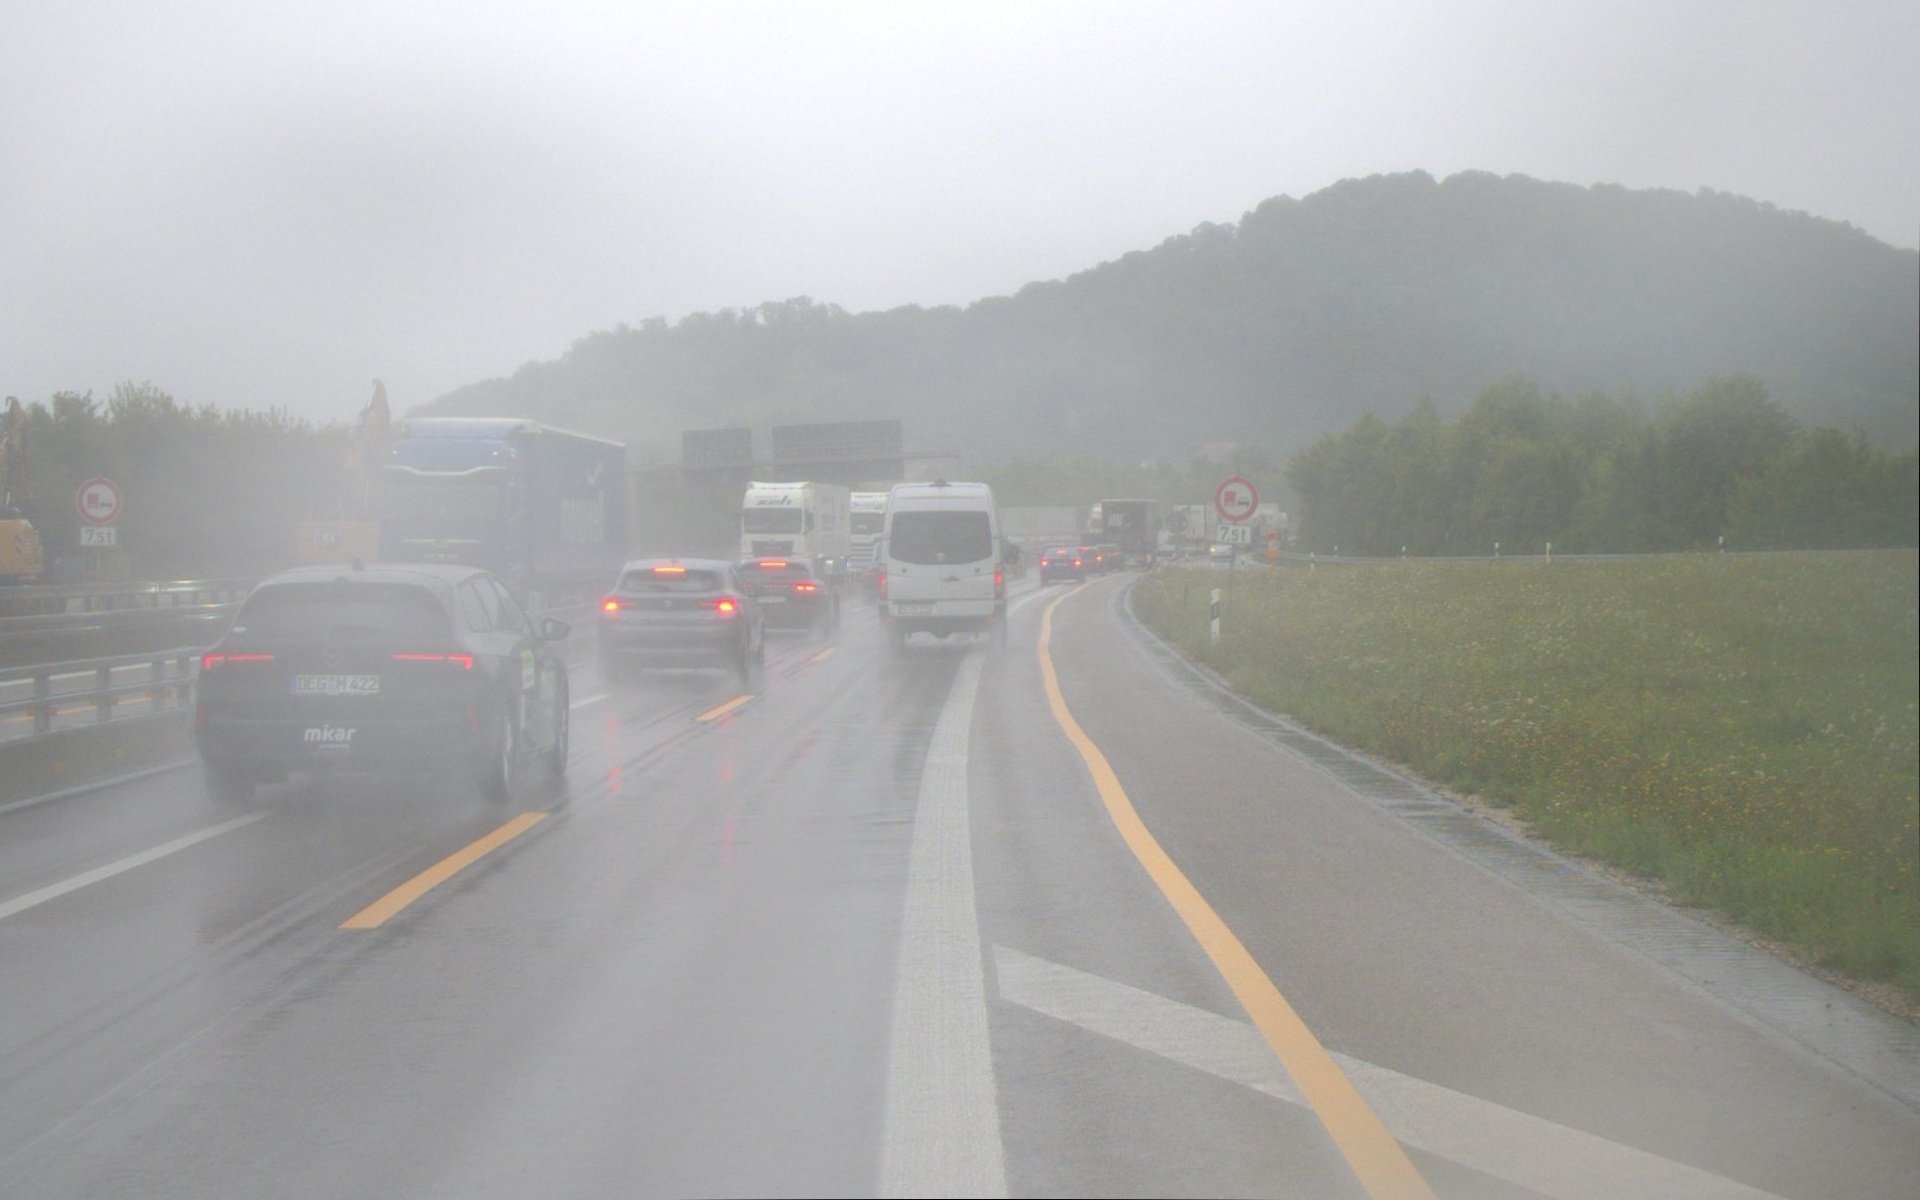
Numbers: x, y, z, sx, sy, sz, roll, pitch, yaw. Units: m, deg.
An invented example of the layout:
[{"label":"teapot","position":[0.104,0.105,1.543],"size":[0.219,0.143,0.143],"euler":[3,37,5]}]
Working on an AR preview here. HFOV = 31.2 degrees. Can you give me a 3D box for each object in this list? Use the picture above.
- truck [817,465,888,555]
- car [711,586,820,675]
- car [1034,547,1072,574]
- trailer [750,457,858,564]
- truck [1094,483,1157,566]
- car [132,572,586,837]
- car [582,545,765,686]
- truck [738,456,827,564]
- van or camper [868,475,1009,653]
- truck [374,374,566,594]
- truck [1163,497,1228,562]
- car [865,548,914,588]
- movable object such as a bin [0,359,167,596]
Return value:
[{"label":"truck","position":[-5.023,-4.241,161.753],"size":[2.884,4.087,6.926],"euler":[0,2,2]},{"label":"car","position":[-3.489,0.526,62.271],"size":[1.852,1.495,4.000],"euler":[0,1,-1]},{"label":"car","position":[3.747,-1.616,139.354],"size":[1.384,1.074,3.123],"euler":[0,1,-1]},{"label":"trailer","position":[-6.112,-3.583,136.759],"size":[2.494,4.035,12.585],"euler":[-1,2,6]},{"label":"truck","position":[9.934,-4.470,205.928],"size":[3.321,4.768,9.905],"euler":[1,1,5]},{"label":"car","position":[-3.576,0.556,21.349],"size":[1.939,1.422,4.760],"euler":[0,1,1]},{"label":"car","position":[-3.485,0.148,42.430],"size":[1.867,1.653,3.988],"euler":[0,1,1]},{"label":"truck","position":[-6.719,-3.438,130.719],"size":[2.484,4.017,6.447],"euler":[0,2,5]},{"label":"van or camper","position":[-0.389,-0.585,54.828],"size":[2.139,2.712,4.648],"euler":[0,1,-1]},{"label":"truck","position":[-9.440,-2.223,66.903],"size":[2.624,4.068,6.669],"euler":[0,1,1]},{"label":"truck","position":[18.166,-5.385,264.540],"size":[3.930,4.768,9.903],"euler":[1,1,10]},{"label":"car","position":[-1.907,-0.890,93.744],"size":[1.262,1.074,3.254],"euler":[0,1,0]},{"label":"movable object such as a bin","position":[-24.734,-3.130,91.212],"size":[4.171,5.894,11.044],"euler":[1,1,3]}]
